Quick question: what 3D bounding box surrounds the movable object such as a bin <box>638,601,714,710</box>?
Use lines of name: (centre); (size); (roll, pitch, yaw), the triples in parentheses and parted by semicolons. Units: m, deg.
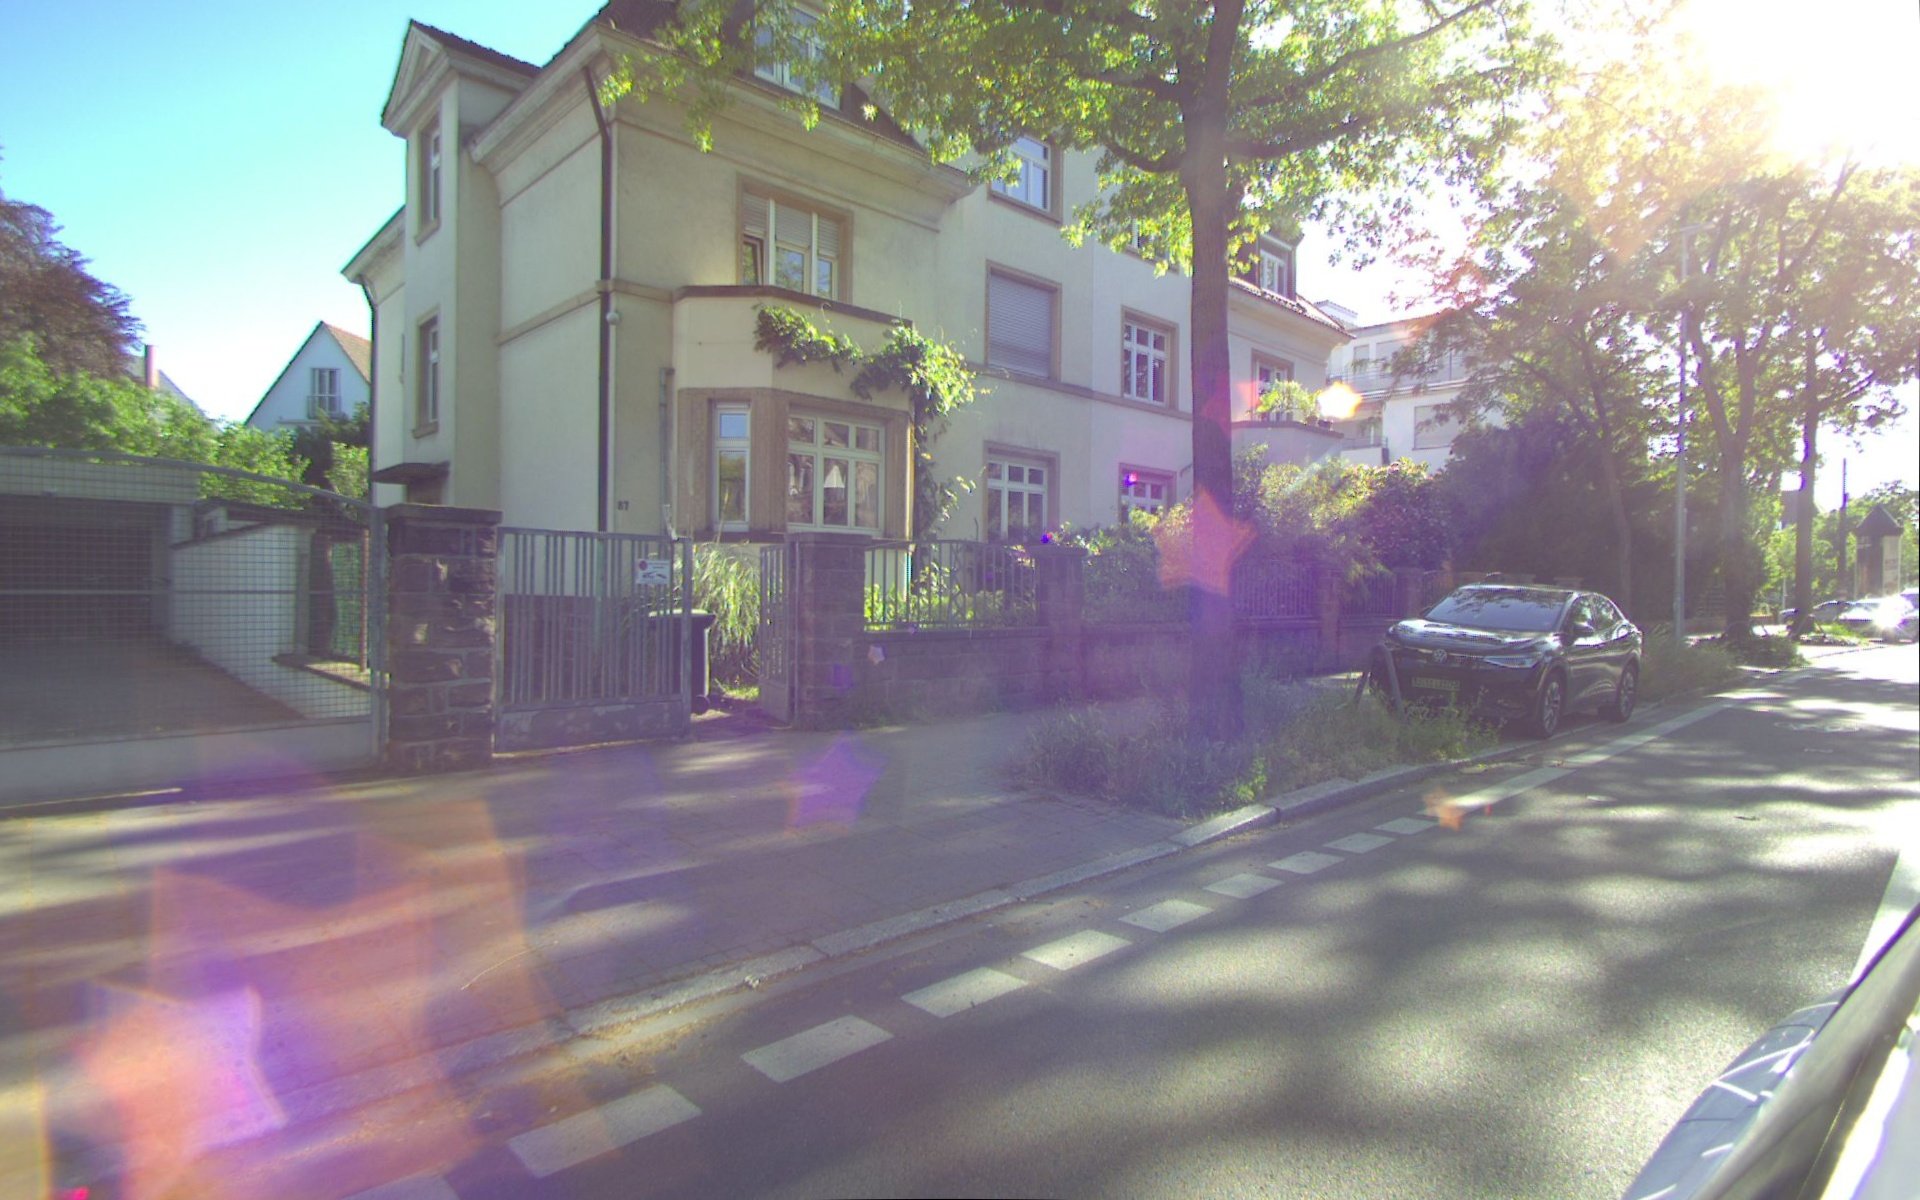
movable object such as a bin: (-3.051, 0.561, 10.816); (0.697, 1.070, 1.093); (0, 0, -20)

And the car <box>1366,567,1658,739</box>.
car: (6.678, 0.499, 12.072); (4.021, 1.626, 1.743); (0, 4, -42)

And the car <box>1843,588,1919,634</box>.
car: (31.547, 0.345, 34.415); (3.930, 1.469, 1.785); (0, 1, -41)

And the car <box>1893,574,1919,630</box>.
car: (36.782, 0.058, 38.077); (4.503, 2.039, 1.997); (0, 1, -41)
